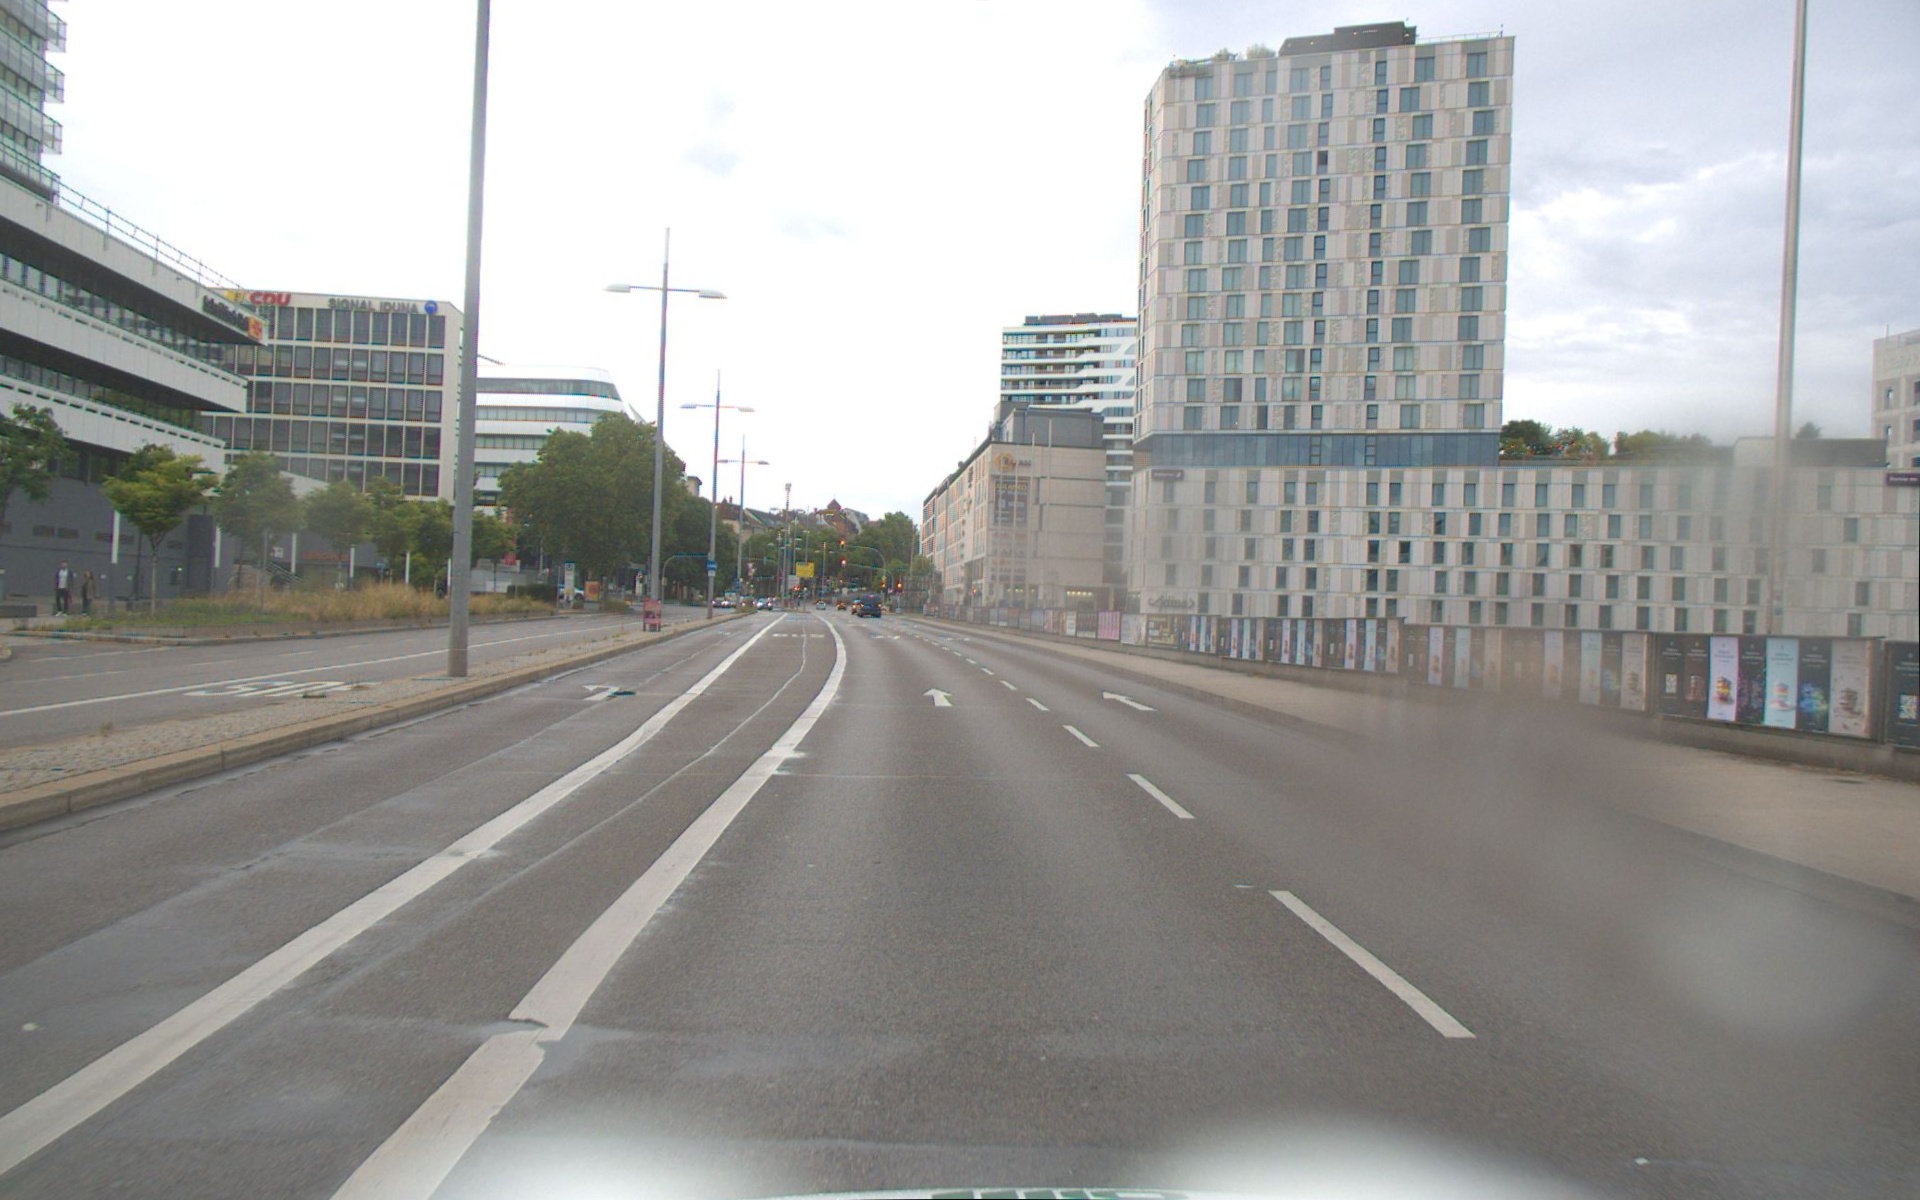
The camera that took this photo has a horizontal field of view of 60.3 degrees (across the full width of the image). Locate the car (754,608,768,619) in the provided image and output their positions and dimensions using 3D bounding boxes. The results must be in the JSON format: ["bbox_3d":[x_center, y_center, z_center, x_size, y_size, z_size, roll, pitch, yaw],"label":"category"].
[{"bbox_3d":[-26.370,1.793,218.929,1.709,1.470,3.390,1,-1,-5],"label":"car"}]

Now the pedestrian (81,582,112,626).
[{"bbox_3d":[-29.452,0.141,56.415,0.605,1.471,0.797,1,-2,-4],"label":"pedestrian"}]

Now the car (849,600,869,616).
[{"bbox_3d":[-10.652,0.829,174.563,1.707,1.558,3.806,1,-1,-9],"label":"car"}]

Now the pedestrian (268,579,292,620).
[{"bbox_3d":[-30.723,-0.006,74.739,0.769,1.839,0.628,1,-2,-5],"label":"pedestrian"}]

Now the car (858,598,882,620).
[{"bbox_3d":[-8.158,0.803,149.711,1.993,1.915,5.036,-1,0,-5],"label":"car"}]

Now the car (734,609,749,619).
[{"bbox_3d":[-29.002,1.895,219.633,1.709,1.279,3.535,2,0,-5],"label":"car"}]

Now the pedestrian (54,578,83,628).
[{"bbox_3d":[-30.347,0.118,56.315,0.605,1.687,0.797,-1,-2,-4],"label":"pedestrian"}]

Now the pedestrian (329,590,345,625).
[{"bbox_3d":[-33.227,0.427,88.210,0.617,1.839,0.628,1,-2,-5],"label":"pedestrian"}]

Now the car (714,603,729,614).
[{"bbox_3d":[-31.530,1.133,219.080,1.709,1.352,4.220,1,-1,-5],"label":"car"}]
